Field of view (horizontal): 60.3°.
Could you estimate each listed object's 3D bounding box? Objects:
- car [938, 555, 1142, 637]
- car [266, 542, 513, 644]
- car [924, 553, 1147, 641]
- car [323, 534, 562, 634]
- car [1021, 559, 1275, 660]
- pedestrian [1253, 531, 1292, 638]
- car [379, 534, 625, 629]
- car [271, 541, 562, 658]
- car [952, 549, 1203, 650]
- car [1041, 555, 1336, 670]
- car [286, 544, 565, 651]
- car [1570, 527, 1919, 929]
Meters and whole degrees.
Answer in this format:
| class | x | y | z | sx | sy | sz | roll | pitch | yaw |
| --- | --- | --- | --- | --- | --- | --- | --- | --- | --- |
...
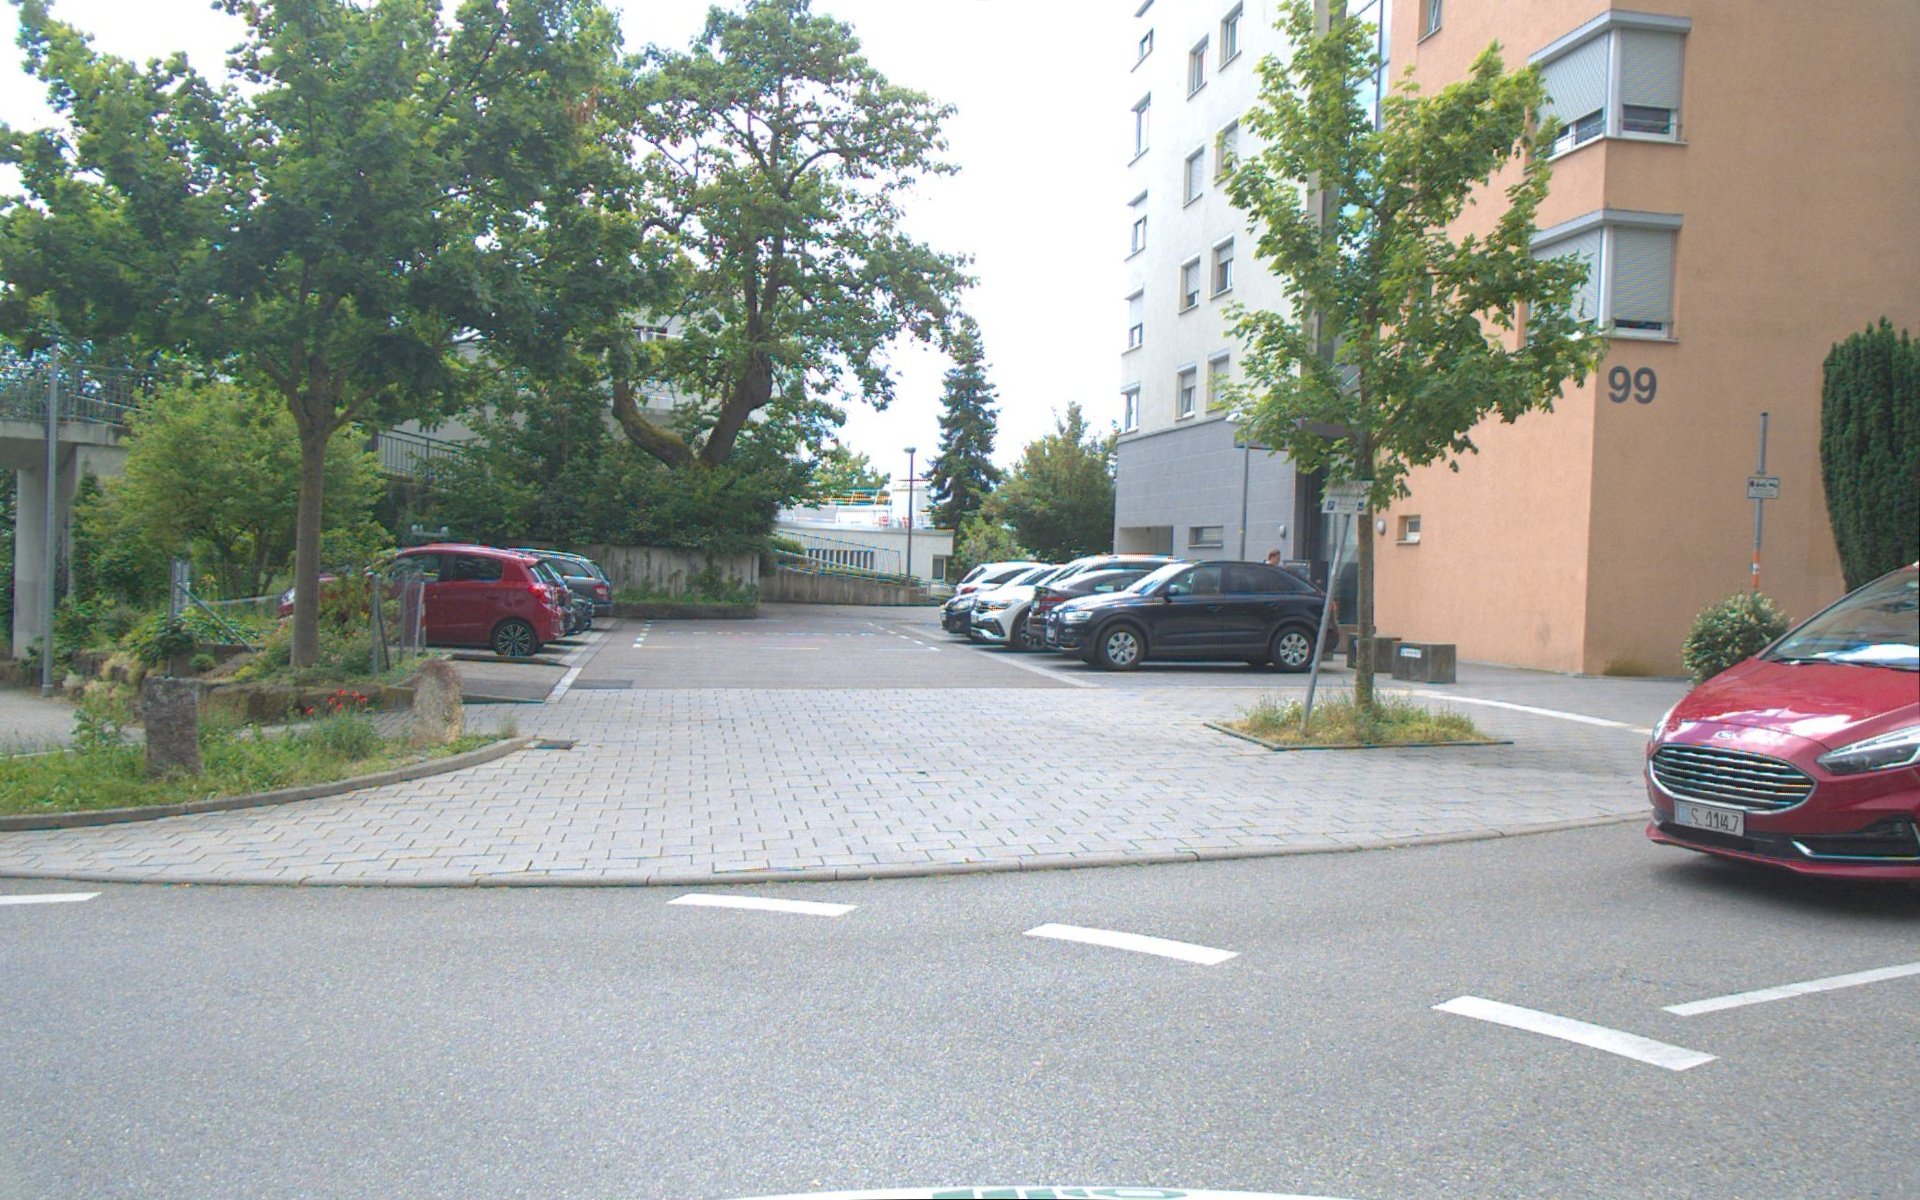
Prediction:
| class | x | y | z | sx | sy | sz | roll | pitch | yaw |
| --- | --- | --- | --- | --- | --- | --- | --- | --- | --- |
| car | 1.598 | -0.070 | 33.837 | 3.906 | 1.544 | 1.754 | 1 | 0 | -8 |
| car | -9.221 | -0.102 | 26.992 | 3.586 | 1.524 | 1.679 | 1 | 0 | -13 |
| car | 1.393 | -0.045 | 31.374 | 3.965 | 1.544 | 1.753 | 1 | 0 | -8 |
| car | -9.175 | -0.265 | 29.600 | 3.921 | 1.642 | 1.937 | 1 | 0 | -15 |
| car | 2.991 | 0.158 | 26.639 | 3.755 | 1.484 | 1.690 | 1 | 0 | -8 |
| pedestrian | 5.625 | -0.274 | 29.757 | 0.471 | 1.885 | 0.504 | 1 | -1 | -21 |
| car | -8.907 | -0.342 | 32.393 | 4.468 | 1.697 | 1.937 | 1 | 0 | -15 |
| car | -7.312 | 0.006 | 22.590 | 3.586 | 1.464 | 1.679 | 1 | 0 | -13 |
| car | 2.040 | 0.003 | 28.932 | 4.050 | 1.621 | 1.686 | 1 | 0 | -15 |
| car | 3.303 | 0.187 | 24.314 | 3.965 | 1.544 | 1.753 | 1 | 0 | -8 |
| car | -7.782 | -0.027 | 24.409 | 3.721 | 1.446 | 1.679 | 1 | 0 | -13 |
| car | 5.657 | 0.468 | 8.603 | 4.455 | 1.673 | 1.969 | -2 | 1 | -20 |
